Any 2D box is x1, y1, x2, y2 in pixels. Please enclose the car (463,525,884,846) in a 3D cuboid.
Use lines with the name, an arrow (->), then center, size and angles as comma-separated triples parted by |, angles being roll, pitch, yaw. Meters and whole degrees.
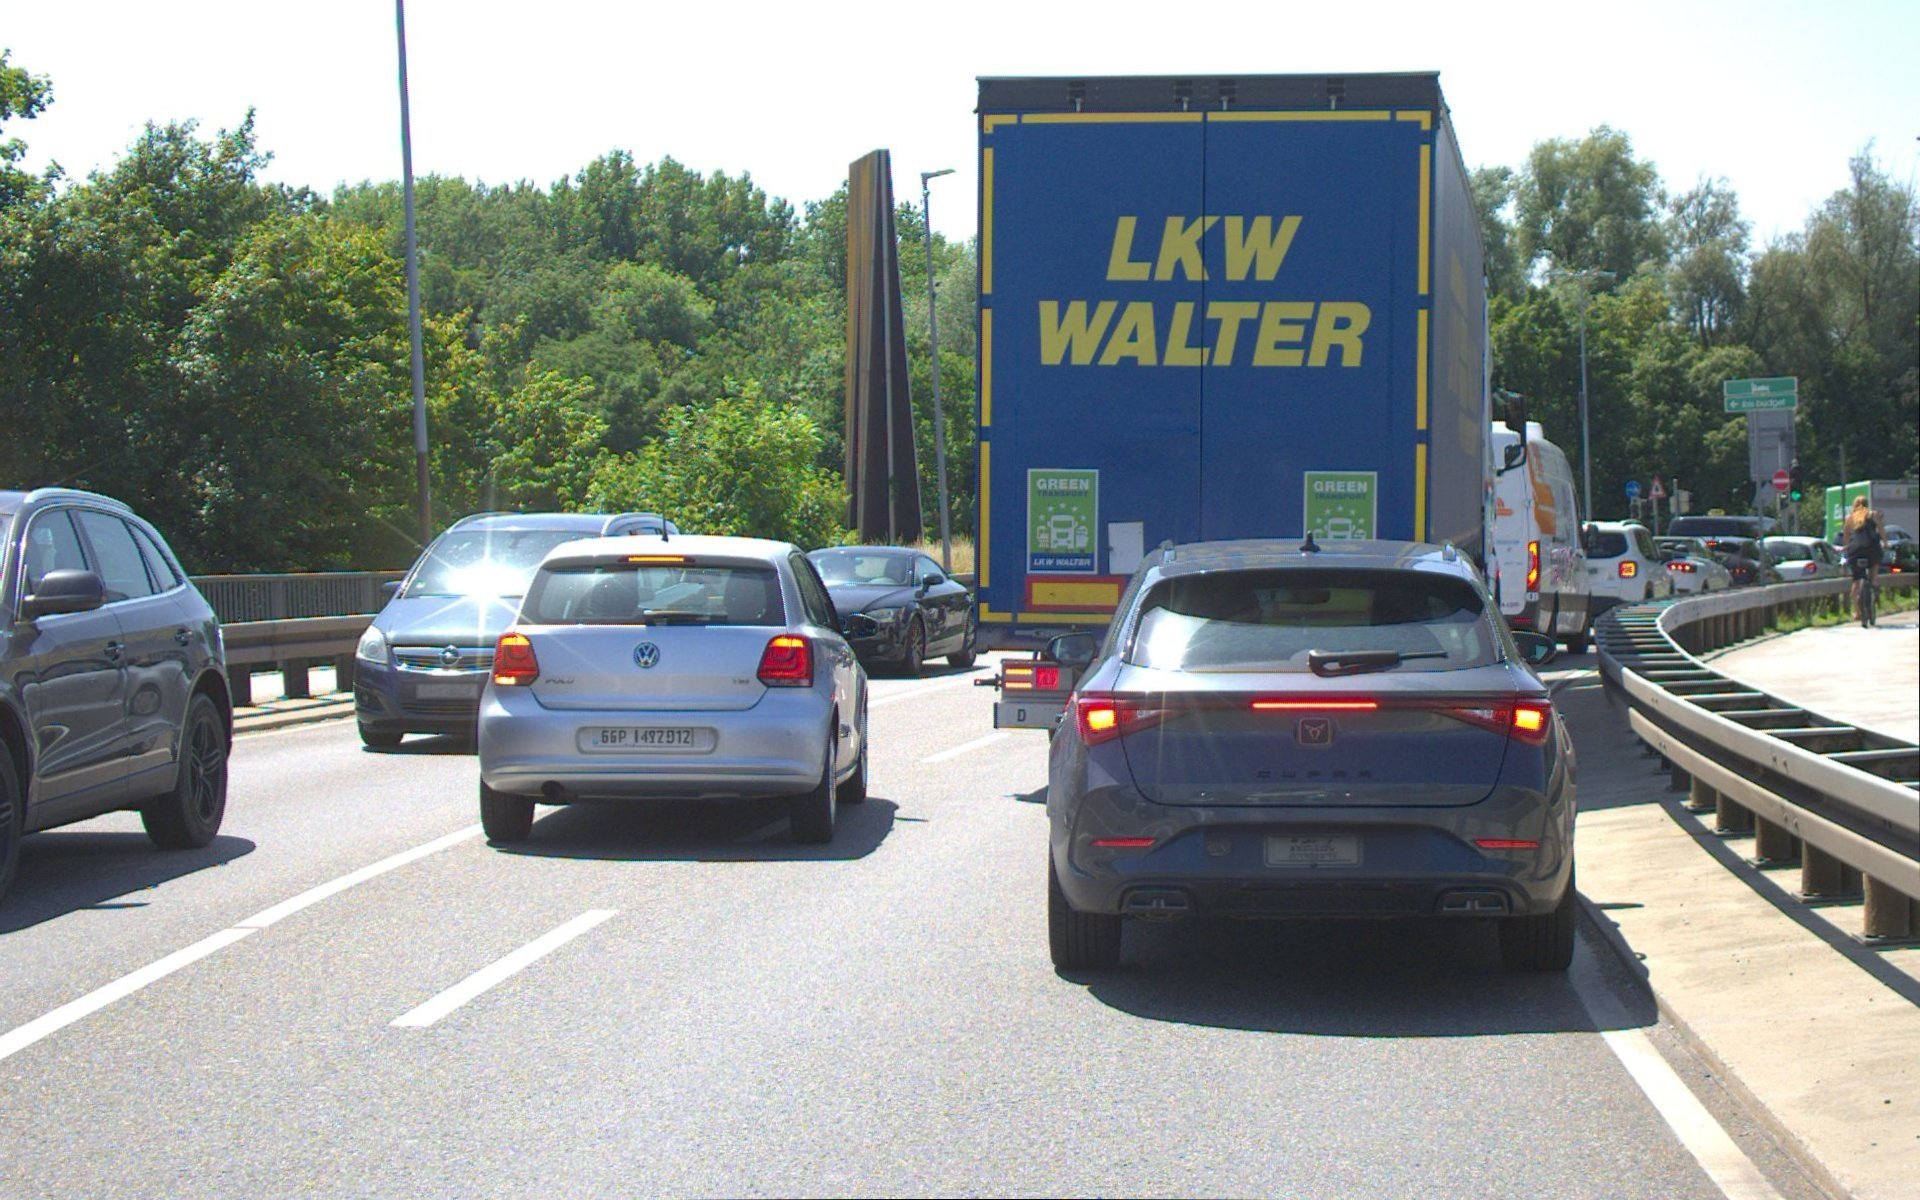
car -> -1.341, 0.342, 17.505 | 1.677, 1.406, 3.975 | 1, 2, 2

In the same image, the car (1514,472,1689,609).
car -> 9.024, -0.871, 48.140 | 1.722, 1.837, 3.996 | 1, 2, 21

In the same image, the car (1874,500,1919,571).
car -> 23.042, -1.474, 80.831 | 1.997, 1.570, 3.993 | 2, 0, 30

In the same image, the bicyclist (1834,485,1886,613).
bicyclist -> 12.057, -0.689, 46.051 | 0.578, 1.677, 0.729 | -3, 1, 13

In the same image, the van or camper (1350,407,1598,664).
van or camper -> 6.212, -0.792, 40.876 | 2.156, 2.806, 6.383 | 1, 2, 15

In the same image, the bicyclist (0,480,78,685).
bicyclist -> -7.072, -0.137, 25.851 | 0.583, 1.516, 0.896 | 0, 1, 5

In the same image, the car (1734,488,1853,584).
car -> 16.590, -1.293, 68.325 | 1.723, 1.837, 3.996 | 1, 2, 22

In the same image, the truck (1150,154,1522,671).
truck -> 3.740, -1.695, 32.804 | 2.906, 4.403, 6.553 | 1, 2, 11

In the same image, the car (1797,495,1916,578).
car -> 19.499, -1.366, 74.693 | 1.688, 1.754, 3.994 | 1, 1, 27

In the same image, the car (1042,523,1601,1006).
car -> 1.205, 0.451, 12.363 | 1.677, 1.451, 3.958 | 0, 1, 3

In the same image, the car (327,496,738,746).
car -> -2.955, 0.085, 24.662 | 1.707, 1.620, 4.251 | 1, 1, 11

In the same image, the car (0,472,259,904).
car -> -4.433, 0.307, 14.318 | 1.801, 1.635, 4.300 | 0, 1, 5

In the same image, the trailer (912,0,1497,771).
trailer -> 2.267, -1.452, 24.935 | 2.906, 4.403, 12.428 | 1, 2, 10

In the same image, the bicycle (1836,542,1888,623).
bicycle -> 12.092, -0.241, 46.121 | 0.582, 1.032, 1.484 | -3, 1, 13

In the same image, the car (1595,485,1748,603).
car -> 11.300, -0.907, 54.432 | 1.722, 1.796, 3.996 | 1, 2, 21

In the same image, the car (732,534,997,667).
car -> -0.944, -0.038, 36.324 | 1.679, 1.304, 3.970 | 0, 1, 16

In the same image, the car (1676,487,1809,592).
car -> 14.223, -1.116, 62.357 | 1.723, 1.837, 3.996 | 1, 2, 22

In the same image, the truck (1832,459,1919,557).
truck -> 28.031, -2.790, 104.054 | 2.335, 2.864, 5.940 | 0, 2, 6
